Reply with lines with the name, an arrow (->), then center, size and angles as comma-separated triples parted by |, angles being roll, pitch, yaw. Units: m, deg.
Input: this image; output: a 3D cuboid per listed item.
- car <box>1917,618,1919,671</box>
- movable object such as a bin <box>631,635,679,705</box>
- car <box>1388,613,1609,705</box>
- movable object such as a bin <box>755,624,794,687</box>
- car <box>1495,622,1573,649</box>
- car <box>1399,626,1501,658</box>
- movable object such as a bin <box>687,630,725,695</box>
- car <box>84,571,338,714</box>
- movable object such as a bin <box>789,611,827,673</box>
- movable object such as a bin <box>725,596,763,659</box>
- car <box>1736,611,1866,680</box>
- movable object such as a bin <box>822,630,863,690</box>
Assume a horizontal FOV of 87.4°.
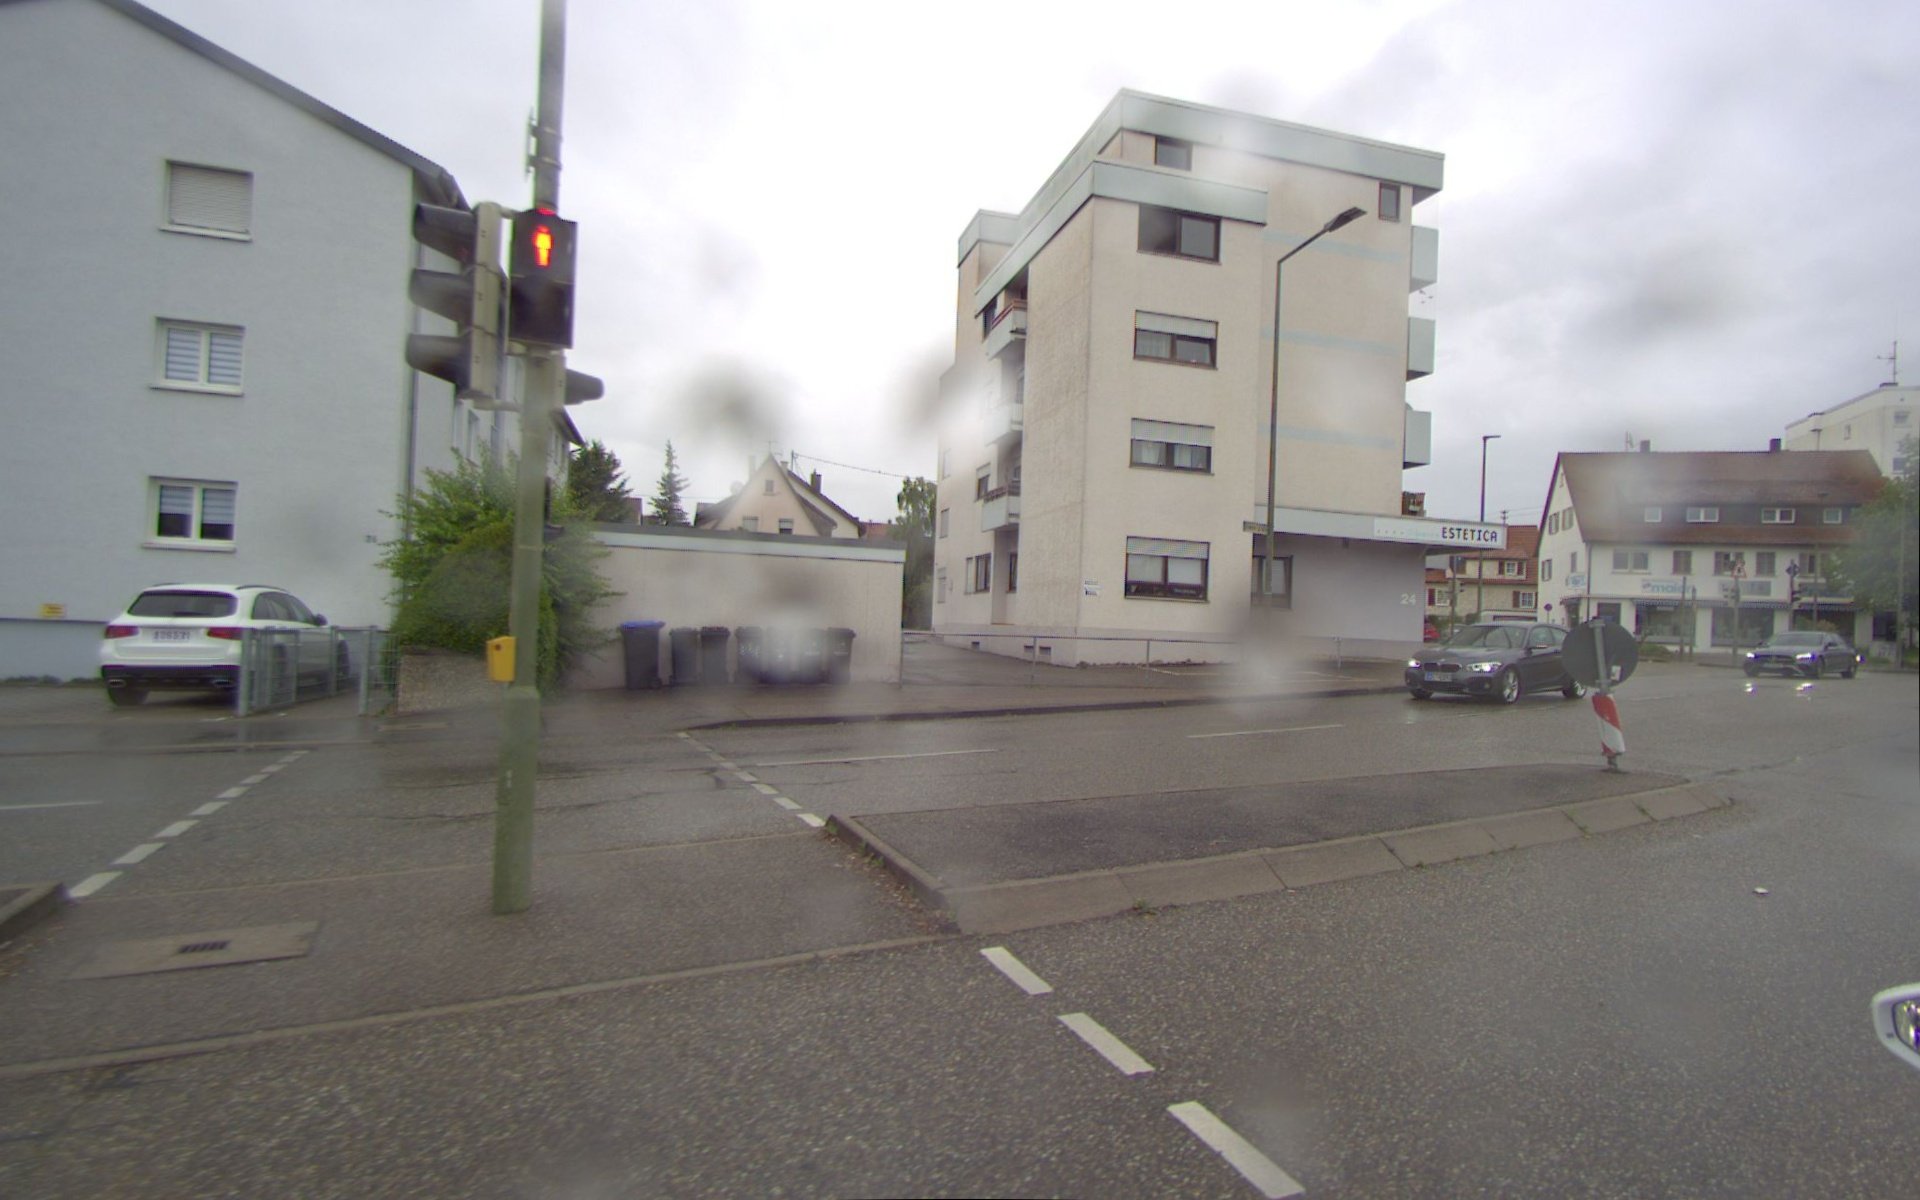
car -> 39.037, 1.762, 38.635 | 4.597, 2.040, 1.984 | 2, -1, -30
movable object such as a bin -> -4.842, 1.114, 15.977 | 0.676, 1.032, 0.499 | 3, 3, -16
car -> 9.971, 1.048, 18.528 | 4.117, 1.492, 1.778 | 2, -1, -32
movable object such as a bin -> -3.063, 0.913, 16.563 | 0.526, 0.974, 0.498 | 3, 3, -17
car -> 36.087, 2.200, 63.229 | 3.921, 1.546, 2.000 | 2, 0, 20
car -> 32.558, 2.756, 66.914 | 5.734, 1.867, 2.001 | 2, 0, 14
movable object such as a bin -> -4.097, 1.000, 16.198 | 0.526, 0.974, 0.498 | 3, 3, -17
car -> -10.620, 0.557, 14.621 | 1.801, 1.773, 3.982 | 2, -1, -19
movable object such as a bin -> -2.530, 0.696, 16.714 | 0.526, 0.974, 0.498 | 2, 3, -17
movable object such as a bin -> -3.533, 0.445, 16.384 | 0.526, 0.974, 0.498 | 3, 3, -17
car -> 27.039, 1.442, 32.212 | 5.928, 2.040, 2.074 | 2, -3, -39
movable object such as a bin -> -1.978, 1.005, 16.852 | 0.592, 0.974, 0.499 | 1, 0, -17
